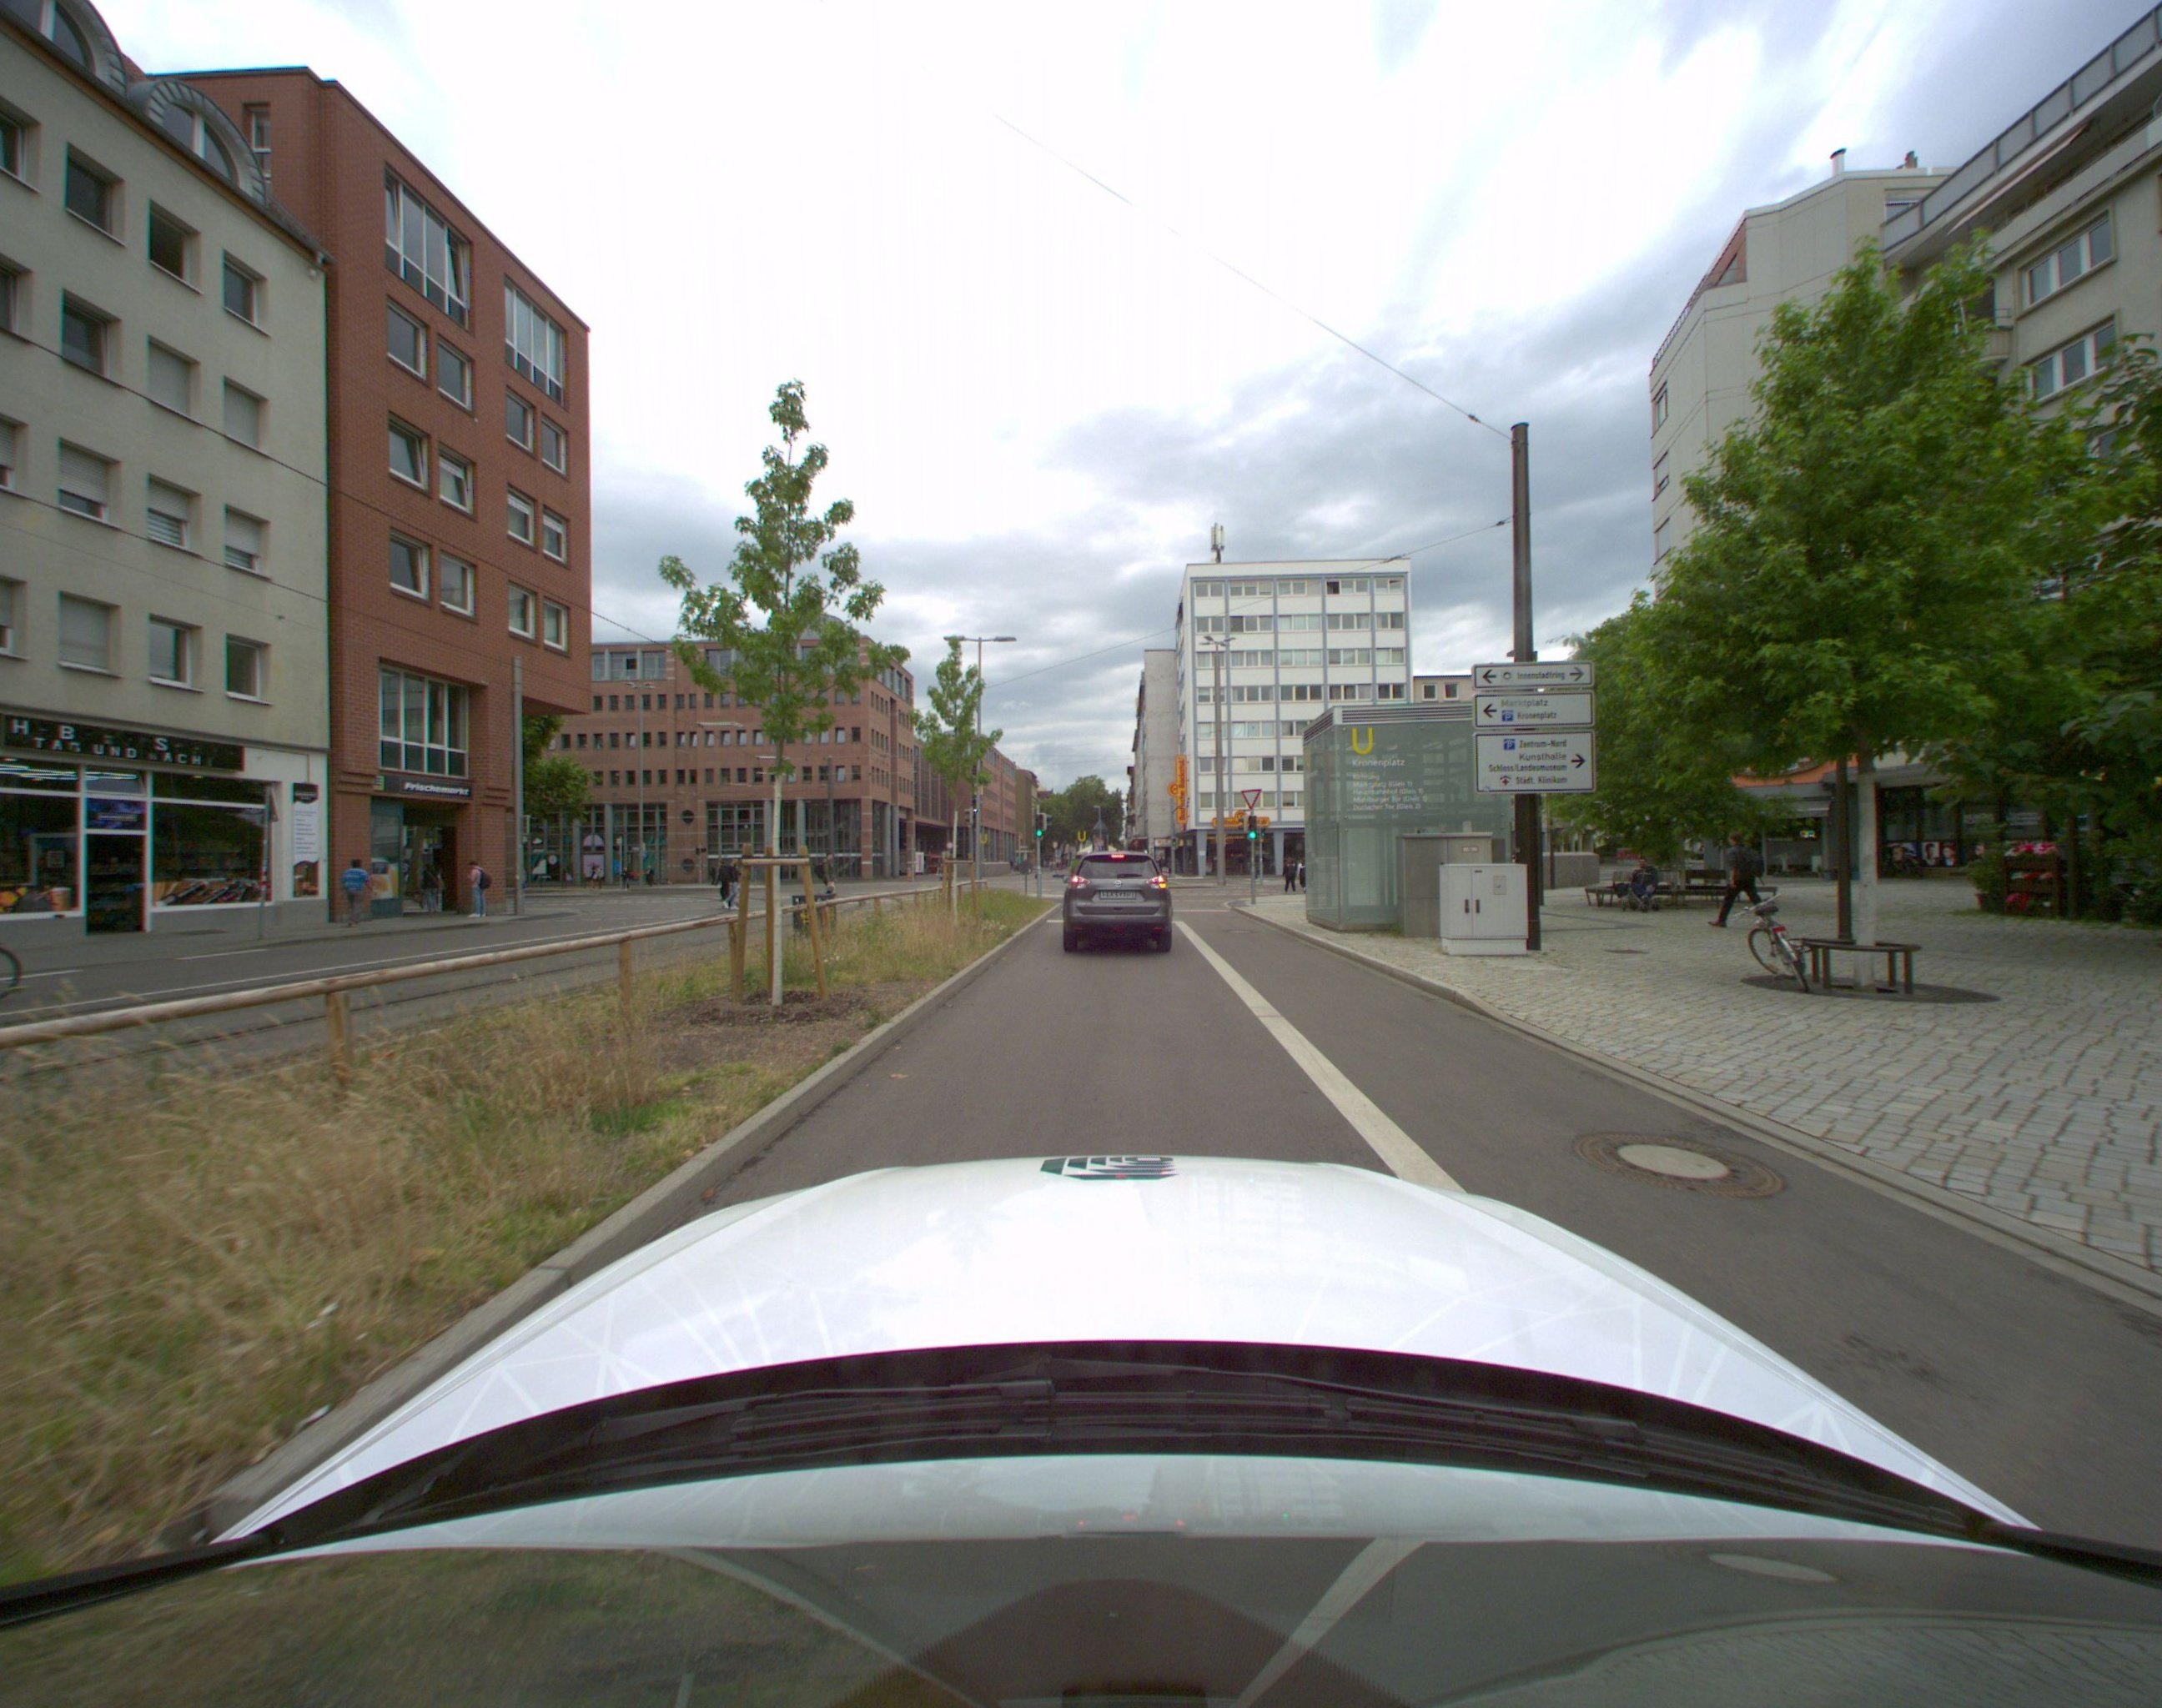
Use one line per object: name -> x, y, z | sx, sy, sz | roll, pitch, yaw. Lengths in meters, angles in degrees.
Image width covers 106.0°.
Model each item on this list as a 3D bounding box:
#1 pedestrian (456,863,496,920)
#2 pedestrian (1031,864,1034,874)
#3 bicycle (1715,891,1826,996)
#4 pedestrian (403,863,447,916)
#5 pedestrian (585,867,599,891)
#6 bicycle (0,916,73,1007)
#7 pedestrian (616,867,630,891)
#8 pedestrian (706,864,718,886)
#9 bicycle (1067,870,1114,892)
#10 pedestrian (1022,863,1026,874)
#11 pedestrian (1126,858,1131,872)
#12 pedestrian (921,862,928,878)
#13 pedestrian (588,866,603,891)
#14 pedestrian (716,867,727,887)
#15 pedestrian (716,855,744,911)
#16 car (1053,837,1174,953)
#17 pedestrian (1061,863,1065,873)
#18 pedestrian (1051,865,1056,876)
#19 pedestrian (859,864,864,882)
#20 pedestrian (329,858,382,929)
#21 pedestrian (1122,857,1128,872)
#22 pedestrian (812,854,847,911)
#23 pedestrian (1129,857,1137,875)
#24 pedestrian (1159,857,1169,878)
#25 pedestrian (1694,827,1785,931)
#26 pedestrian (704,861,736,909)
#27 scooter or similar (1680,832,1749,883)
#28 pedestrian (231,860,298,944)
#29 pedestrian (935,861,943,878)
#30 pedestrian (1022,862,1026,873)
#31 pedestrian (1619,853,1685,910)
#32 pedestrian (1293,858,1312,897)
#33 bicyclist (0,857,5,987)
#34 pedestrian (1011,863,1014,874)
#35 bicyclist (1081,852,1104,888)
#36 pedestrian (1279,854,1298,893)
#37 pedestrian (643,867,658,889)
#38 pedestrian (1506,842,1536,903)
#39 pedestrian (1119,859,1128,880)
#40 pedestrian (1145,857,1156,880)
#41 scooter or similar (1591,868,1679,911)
pedestrian -> -18.473, 1.132, 24.879 | 0.567, 1.684, 0.798 | 1, -2, -2
pedestrian -> -8.387, 2.598, 140.871 | 0.599, 1.714, 0.654 | 0, -1, -5
bicycle -> 7.718, 0.951, 9.190 | 0.651, 0.978, 1.765 | -2, -1, 31
pedestrian -> -21.594, 1.160, 26.813 | 0.741, 1.684, 0.798 | 1, -2, -2
pedestrian -> -32.653, 1.675, 54.408 | 0.571, 1.612, 0.629 | 0, -2, -5
bicycle -> -13.016, 1.294, 9.343 | 0.474, 1.021, 1.913 | -1, -1, 2
pedestrian -> -30.560, 1.668, 54.347 | 0.571, 1.574, 0.629 | 0, -2, -5
pedestrian -> -28.851, 1.673, 63.678 | 0.744, 1.688, 0.570 | 1, -2, -22
bicycle -> 0.470, 1.394, 42.583 | 0.908, 1.045, 3.245 | 0, -1, -31
pedestrian -> -9.203, 2.281, 130.795 | 0.599, 1.714, 0.654 | 0, -1, -5
pedestrian -> 6.191, 1.438, 106.391 | 0.609, 1.705, 0.620 | 0, -1, 3
pedestrian -> -18.489, 1.868, 96.295 | 0.735, 1.842, 0.697 | 0, -1, -22
pedestrian -> -32.068, 1.629, 53.794 | 0.571, 1.612, 0.629 | 0, -2, -5
pedestrian -> -28.497, 1.831, 64.608 | 0.744, 1.561, 0.570 | 1, -2, -21
pedestrian -> -12.075, 1.004, 28.056 | 0.608, 1.890, 0.799 | -1, -2, 0
car -> 0.671, 0.730, 15.118 | 1.855, 1.775, 4.571 | -2, -2, 4
pedestrian -> -2.930, 2.321, 133.168 | 0.599, 1.714, 0.654 | 0, -1, -5
pedestrian -> -3.914, 2.399, 116.539 | 0.599, 1.536, 0.654 | 0, -1, -5
pedestrian -> -18.840, 1.589, 69.915 | 0.449, 1.532, 0.519 | 0, -1, -15
pedestrian -> -17.885, 0.966, 20.093 | 0.659, 1.687, 0.721 | -1, -2, -7
pedestrian -> 4.936, 1.212, 91.589 | 0.640, 1.705, 0.559 | 0, -1, 3
pedestrian -> -8.488, 0.967, 27.490 | 0.893, 1.890, 0.799 | 1, -2, 0
pedestrian -> 5.268, 1.212, 82.419 | 0.735, 1.821, 0.662 | -1, -1, 0
pedestrian -> 6.704, 1.100, 65.915 | 0.705, 1.705, 0.737 | 0, -1, 15
pedestrian -> 12.153, 0.454, 15.065 | 0.711, 1.802, 1.078 | -4, -1, 2
pedestrian -> -12.853, 1.109, 29.037 | 0.741, 1.684, 0.798 | 1, -2, -2
scooter or similar -> 23.482, 0.142, 30.232 | 1.077, 1.806, 2.281 | -1, 0, 11
pedestrian -> -17.026, 0.987, 17.003 | 0.660, 1.687, 0.720 | -1, -2, -10
pedestrian -> -15.913, 1.760, 91.209 | 0.735, 1.842, 0.697 | 0, -1, -23
pedestrian -> -8.891, 2.063, 126.494 | 0.599, 1.714, 0.654 | 0, -1, -5
pedestrian -> 13.744, 0.655, 19.638 | 1.038, 1.297, 0.734 | -3, -1, 8
pedestrian -> 10.249, 1.072, 37.683 | 0.620, 1.761, 0.778 | 0, -1, -5
bicyclist -> -13.027, 0.806, 9.264 | 0.489, 1.540, 0.812 | -1, -1, 1
pedestrian -> -11.472, 2.438, 136.327 | 0.599, 1.714, 0.654 | 0, -1, -5
bicyclist -> 0.585, 0.818, 42.369 | 0.840, 1.812, 0.868 | 1, -1, -33
pedestrian -> 9.573, 0.905, 37.636 | 0.620, 1.761, 0.778 | 0, -1, -5
pedestrian -> -29.906, 1.672, 56.602 | 0.569, 1.561, 0.746 | 0, -2, 8
pedestrian -> 12.847, 0.538, 23.793 | 0.666, 1.761, 0.644 | 0, -1, 18
pedestrian -> 3.576, 1.281, 68.780 | 0.731, 1.746, 0.662 | 0, -1, -5
pedestrian -> 5.522, 1.144, 64.478 | 0.711, 1.832, 1.015 | 0, -1, -5
scooter or similar -> 12.904, 0.831, 18.990 | 1.571, 0.948, 0.729 | -3, -1, 41
